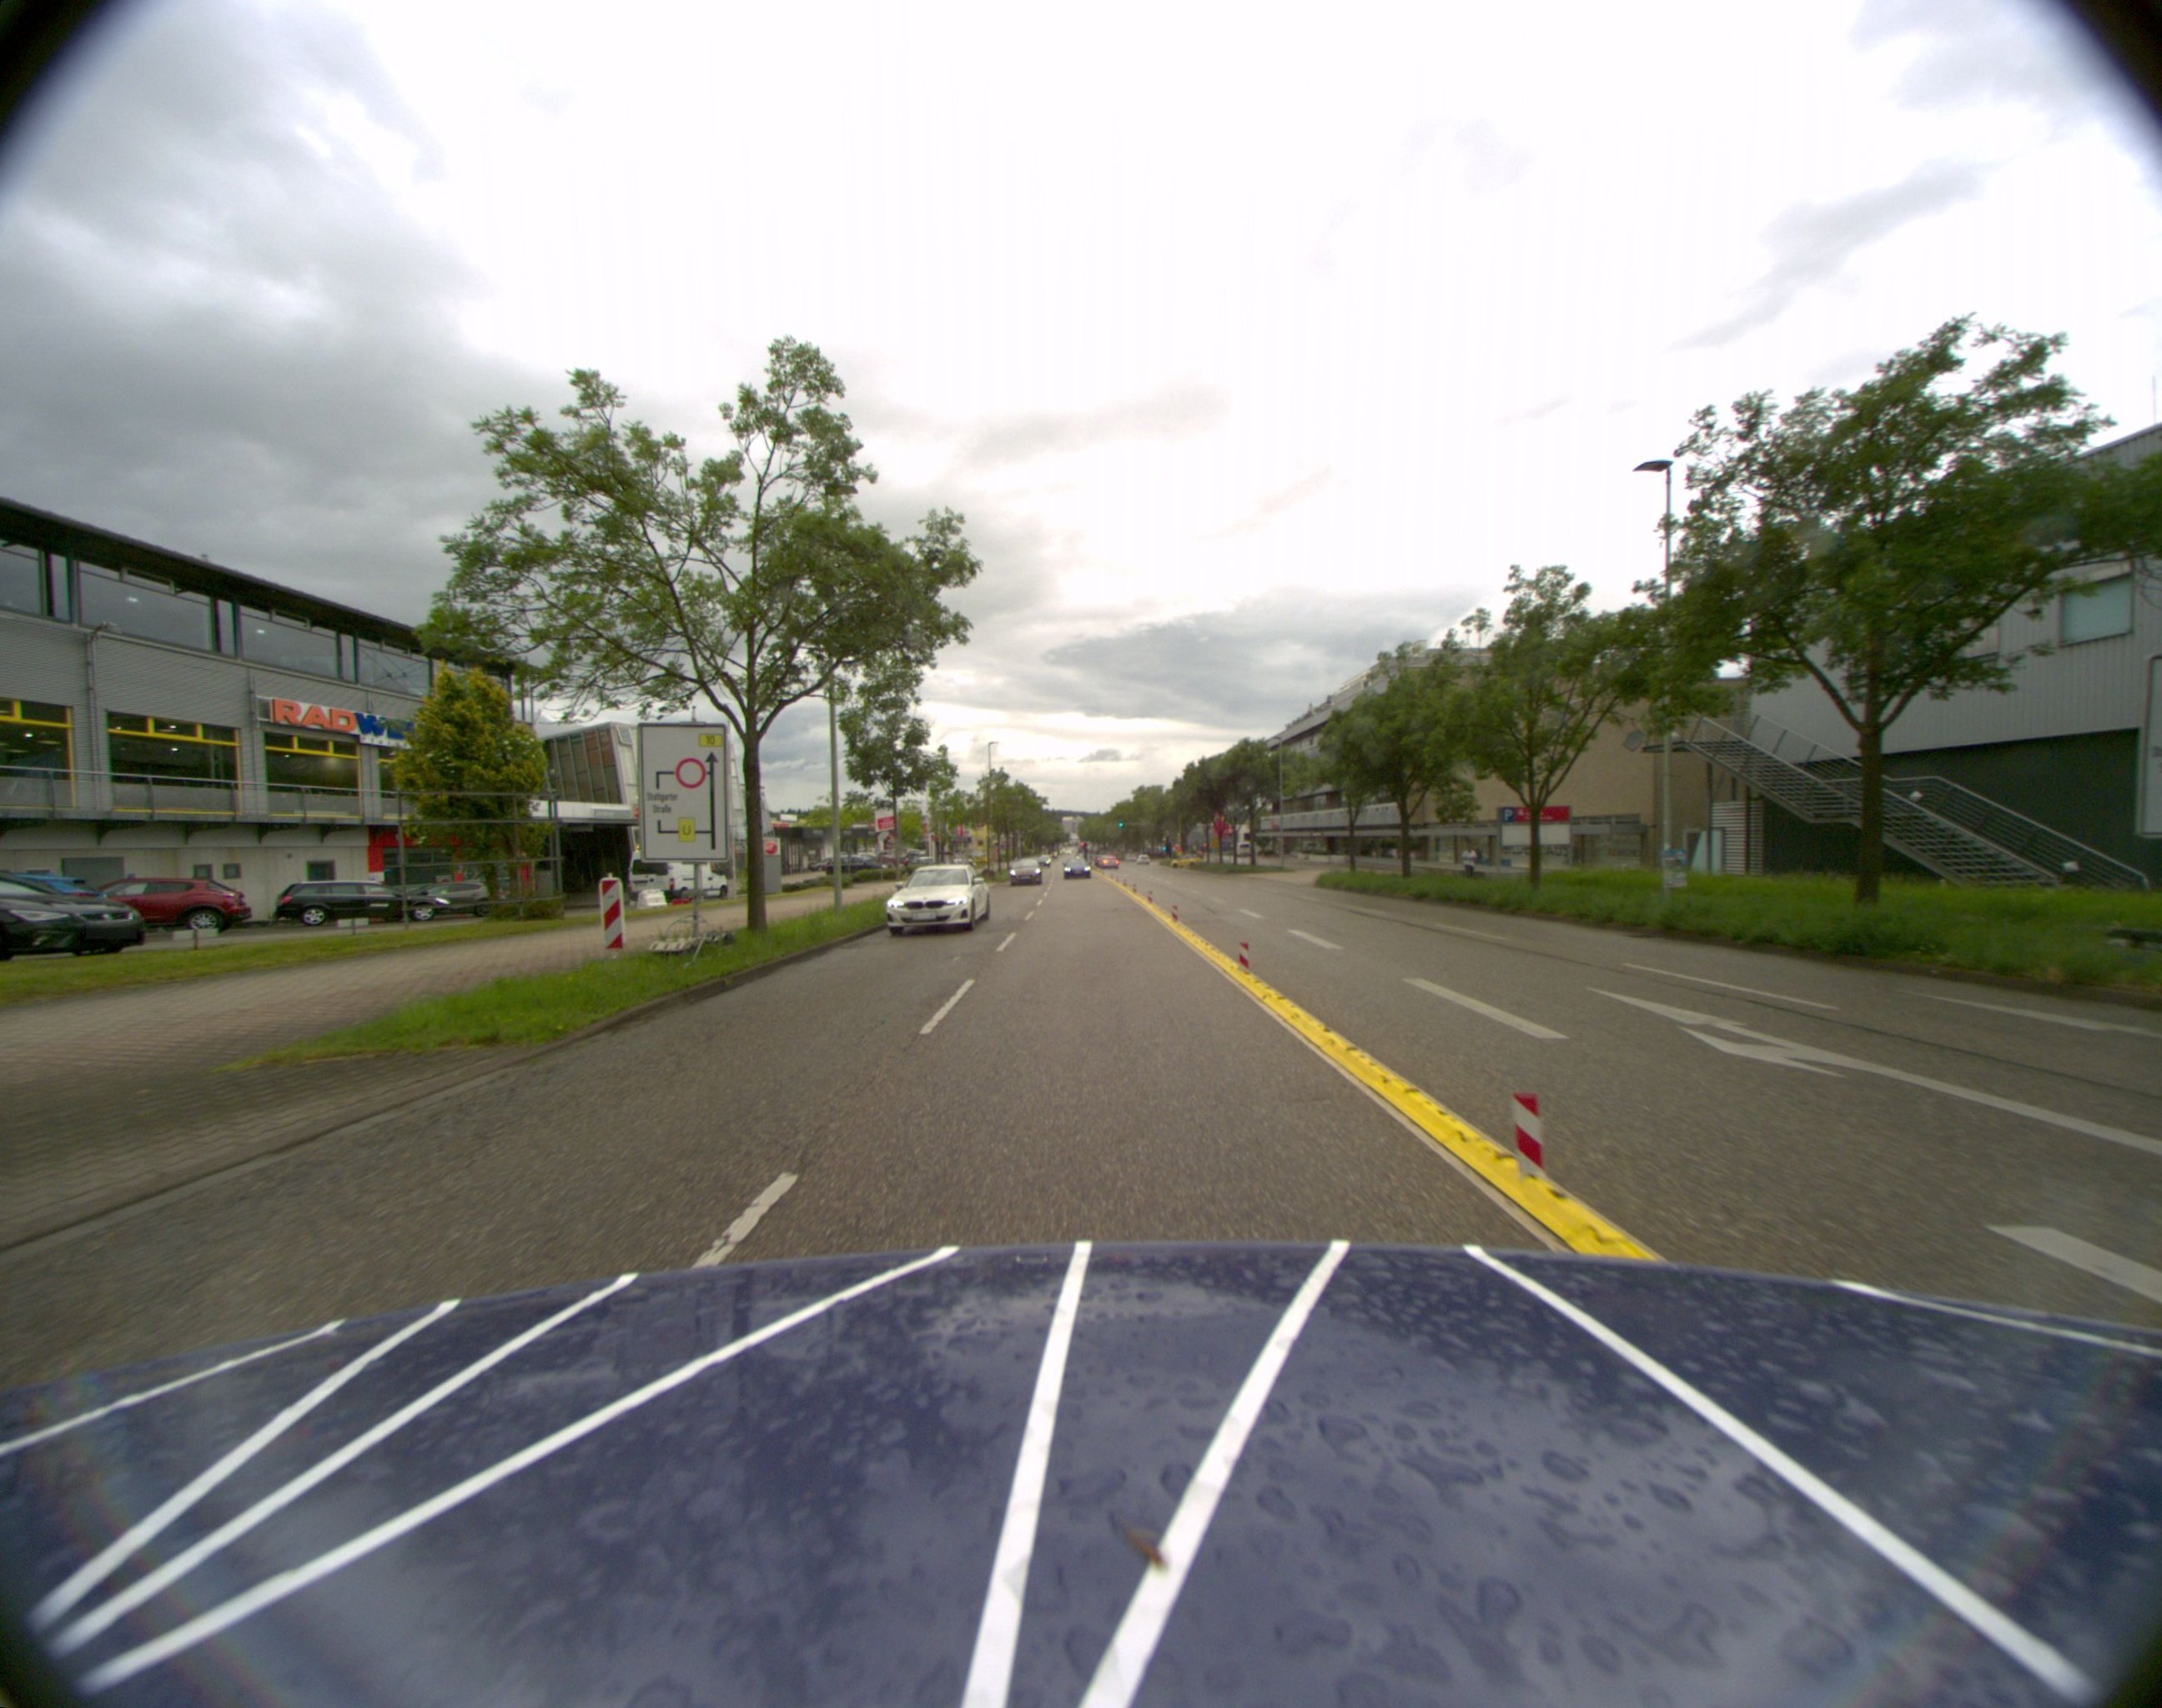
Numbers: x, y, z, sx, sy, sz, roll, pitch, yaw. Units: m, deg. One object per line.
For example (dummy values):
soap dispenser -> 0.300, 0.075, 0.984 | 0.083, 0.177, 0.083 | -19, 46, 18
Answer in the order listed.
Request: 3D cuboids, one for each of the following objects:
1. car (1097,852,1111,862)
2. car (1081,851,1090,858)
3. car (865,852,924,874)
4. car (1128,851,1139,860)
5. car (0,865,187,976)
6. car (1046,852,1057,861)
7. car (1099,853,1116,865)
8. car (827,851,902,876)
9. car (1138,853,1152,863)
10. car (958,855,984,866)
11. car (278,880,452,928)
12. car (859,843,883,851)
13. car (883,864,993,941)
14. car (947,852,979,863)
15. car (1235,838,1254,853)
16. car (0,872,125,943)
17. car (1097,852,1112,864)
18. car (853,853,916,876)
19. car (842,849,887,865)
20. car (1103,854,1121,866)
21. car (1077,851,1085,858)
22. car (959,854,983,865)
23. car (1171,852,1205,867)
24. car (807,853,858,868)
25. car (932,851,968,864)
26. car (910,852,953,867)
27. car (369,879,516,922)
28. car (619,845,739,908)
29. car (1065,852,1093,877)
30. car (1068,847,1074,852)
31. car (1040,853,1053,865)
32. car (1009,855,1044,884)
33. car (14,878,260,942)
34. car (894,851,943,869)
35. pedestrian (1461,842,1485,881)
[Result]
car -> 3.288, 0.437, 109.619 | 1.754, 1.501, 3.999 | 0, 0, -1
car -> 0.880, 0.101, 153.033 | 1.754, 1.501, 3.999 | 0, 0, -1
car -> -14.811, 0.713, 60.424 | 4.178, 1.591, 1.800 | 2, 1, 2
car -> 9.649, 0.336, 140.645 | 1.745, 1.543, 4.782 | 0, 0, 0
car -> -15.657, 0.936, 10.439 | 4.105, 1.429, 1.795 | -1, -2, -13
car -> -4.755, 0.432, 124.355 | 1.754, 1.501, 3.999 | 0, 0, -1
car -> 3.213, 0.565, 92.636 | 1.745, 1.398, 3.999 | 0, 0, -2
car -> -15.225, 0.680, 53.538 | 4.663, 1.591, 1.928 | 2, 1, 9
car -> 9.652, 0.578, 115.264 | 1.745, 1.398, 4.468 | 0, 1, 0
car -> -18.042, 1.097, 124.535 | 3.999, 1.502, 1.741 | -2, 3, -6
car -> -24.732, 1.678, 26.409 | 4.269, 1.461, 1.735 | 0, -2, -44
car -> -48.932, -1.723, 176.920 | 5.093, 1.787, 2.034 | -1, 0, -1
car -> -3.227, 1.028, 18.036 | 1.808, 1.432, 4.541 | -3, 0, -2
car -> -16.827, 0.492, 108.191 | 1.738, 1.570, 4.324 | 2, 1, 43
car -> 23.921, -1.282, 111.369 | 1.998, 2.002, 4.886 | -3, 1, 4
car -> -24.607, 1.213, 16.901 | 3.919, 1.549, 1.735 | 0, -2, -42
car -> 3.070, 0.482, 99.928 | 1.754, 1.516, 3.999 | 0, 0, -1
car -> -14.796, 0.751, 57.415 | 4.178, 1.591, 1.828 | 2, 1, 2
car -> -24.859, 0.316, 87.255 | 4.508, 1.672, 1.794 | 1, 2, -39
car -> 3.486, 0.653, 86.115 | 1.788, 1.398, 4.615 | 0, 0, -2
car -> 0.028, 0.036, 168.338 | 1.754, 1.501, 3.999 | 0, 0, -1
car -> -16.681, 0.885, 115.354 | 1.747, 1.570, 3.864 | 0, -1, -41
car -> 12.868, 0.682, 91.376 | 3.702, 1.500, 1.624 | -4, 2, 37
car -> -25.018, 0.692, 76.605 | 4.508, 1.388, 1.794 | 1, 2, -43
car -> -16.584, 0.451, 96.198 | 4.186, 1.570, 1.738 | 1, 1, -39
car -> -16.306, 0.589, 82.709 | 4.191, 1.464, 1.785 | 1, 1, -37
car -> -24.924, 1.775, 29.762 | 1.779, 1.461, 4.269 | -3, -2, 44
car -> -18.062, 0.984, 34.541 | 2.232, 2.521, 5.682 | -3, -1, 1
car -> -0.143, 0.718, 54.433 | 1.799, 1.572, 4.218 | -3, 0, 0
car -> -3.327, -1.437, 253.057 | 1.754, 1.501, 4.000 | 0, 0, 0
car -> -4.789, 0.676, 105.157 | 1.754, 1.501, 3.999 | 0, 0, -1
car -> -3.200, 0.900, 45.446 | 1.799, 1.572, 4.217 | -3, 0, -2
car -> -25.045, 1.437, 20.404 | 3.882, 1.492, 1.735 | 0, -2, -40
car -> -15.308, 0.558, 71.829 | 4.180, 1.464, 1.862 | 2, 1, -1
pedestrian -> 16.521, 0.308, 32.045 | 0.586, 1.574, 0.767 | -3, 1, 1
